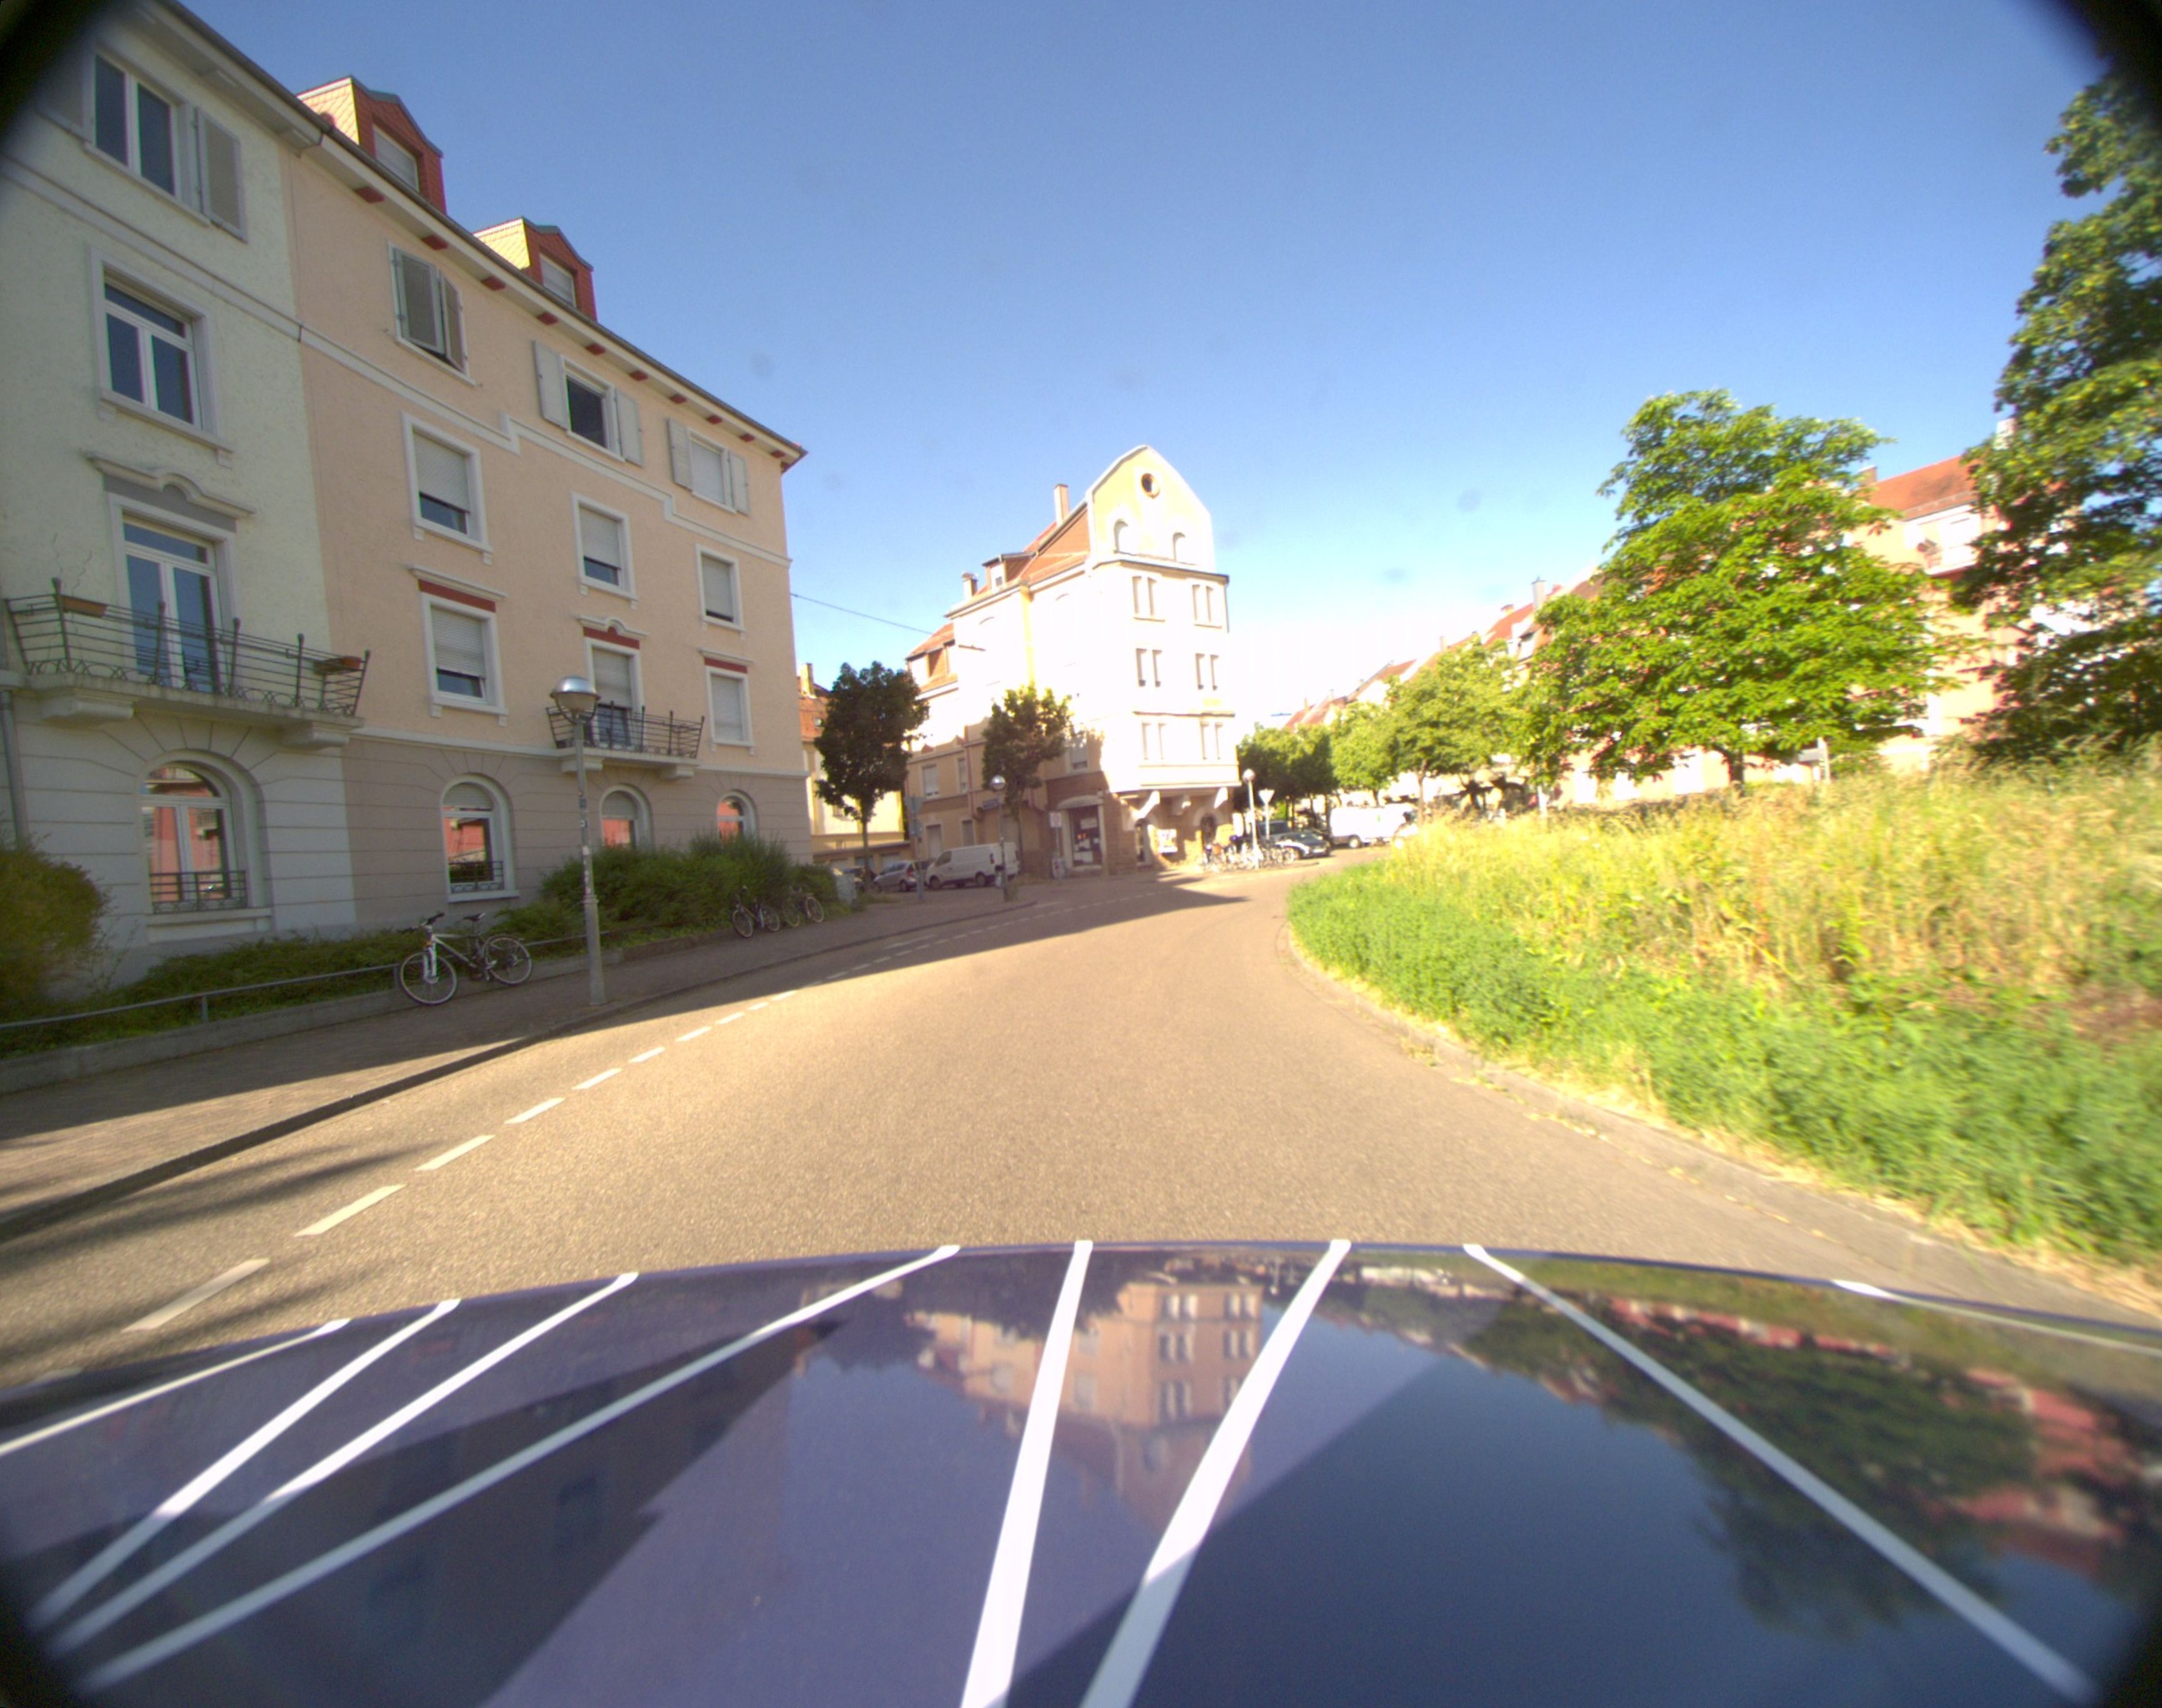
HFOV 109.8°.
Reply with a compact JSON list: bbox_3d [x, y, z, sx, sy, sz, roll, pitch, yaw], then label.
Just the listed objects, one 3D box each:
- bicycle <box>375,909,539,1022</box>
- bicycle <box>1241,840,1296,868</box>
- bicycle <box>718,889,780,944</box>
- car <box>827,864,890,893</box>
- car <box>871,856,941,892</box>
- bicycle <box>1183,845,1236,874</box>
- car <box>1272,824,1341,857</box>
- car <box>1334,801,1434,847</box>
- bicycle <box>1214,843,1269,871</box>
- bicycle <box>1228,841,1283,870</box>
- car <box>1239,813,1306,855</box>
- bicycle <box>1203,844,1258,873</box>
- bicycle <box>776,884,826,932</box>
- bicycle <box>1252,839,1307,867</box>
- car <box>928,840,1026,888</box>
[{"bbox_3d":[-7.838,1.363,9.648,0.435,1.148,1.671,-3,1,10],"label":"bicycle"},{"bbox_3d":[7.696,0.019,31.238,0.655,1.046,2.361,-5,1,-31],"label":"bicycle"},{"bbox_3d":[-6.996,1.305,16.062,0.377,0.989,1.392,-4,1,13],"label":"bicycle"},{"bbox_3d":[-12.450,1.373,42.435,3.535,1.366,1.691,-4,1,42],"label":"car"},{"bbox_3d":[-9.137,1.055,39.580,3.535,1.567,1.691,-4,1,42],"label":"car"},{"bbox_3d":[4.994,0.235,29.758,0.655,1.046,2.361,-2,-1,-31],"label":"bicycle"},{"bbox_3d":[11.374,-0.641,38.642,1.999,1.434,3.998,-5,1,-4],"label":"car"},{"bbox_3d":[18.508,-1.840,46.564,5.180,2.348,2.041,-4,1,38],"label":"car"},{"bbox_3d":[6.428,0.147,30.556,0.655,1.009,2.361,-4,0,-31],"label":"bicycle"},{"bbox_3d":[7.076,0.068,30.903,0.655,1.046,2.361,-5,1,-31],"label":"bicycle"},{"bbox_3d":[10.959,-1.096,43.875,2.253,2.107,4.799,-5,1,-3],"label":"car"},{"bbox_3d":[5.876,0.190,30.092,0.655,1.046,2.361,-5,1,-31],"label":"bicycle"},{"bbox_3d":[-6.619,1.269,18.031,0.377,0.989,1.392,-4,1,11],"label":"bicycle"},{"bbox_3d":[8.249,-0.016,31.752,0.655,1.046,2.361,-5,1,-31],"label":"bicycle"},{"bbox_3d":[-5.005,0.500,36.345,4.438,1.930,1.901,-4,1,37],"label":"car"}]
